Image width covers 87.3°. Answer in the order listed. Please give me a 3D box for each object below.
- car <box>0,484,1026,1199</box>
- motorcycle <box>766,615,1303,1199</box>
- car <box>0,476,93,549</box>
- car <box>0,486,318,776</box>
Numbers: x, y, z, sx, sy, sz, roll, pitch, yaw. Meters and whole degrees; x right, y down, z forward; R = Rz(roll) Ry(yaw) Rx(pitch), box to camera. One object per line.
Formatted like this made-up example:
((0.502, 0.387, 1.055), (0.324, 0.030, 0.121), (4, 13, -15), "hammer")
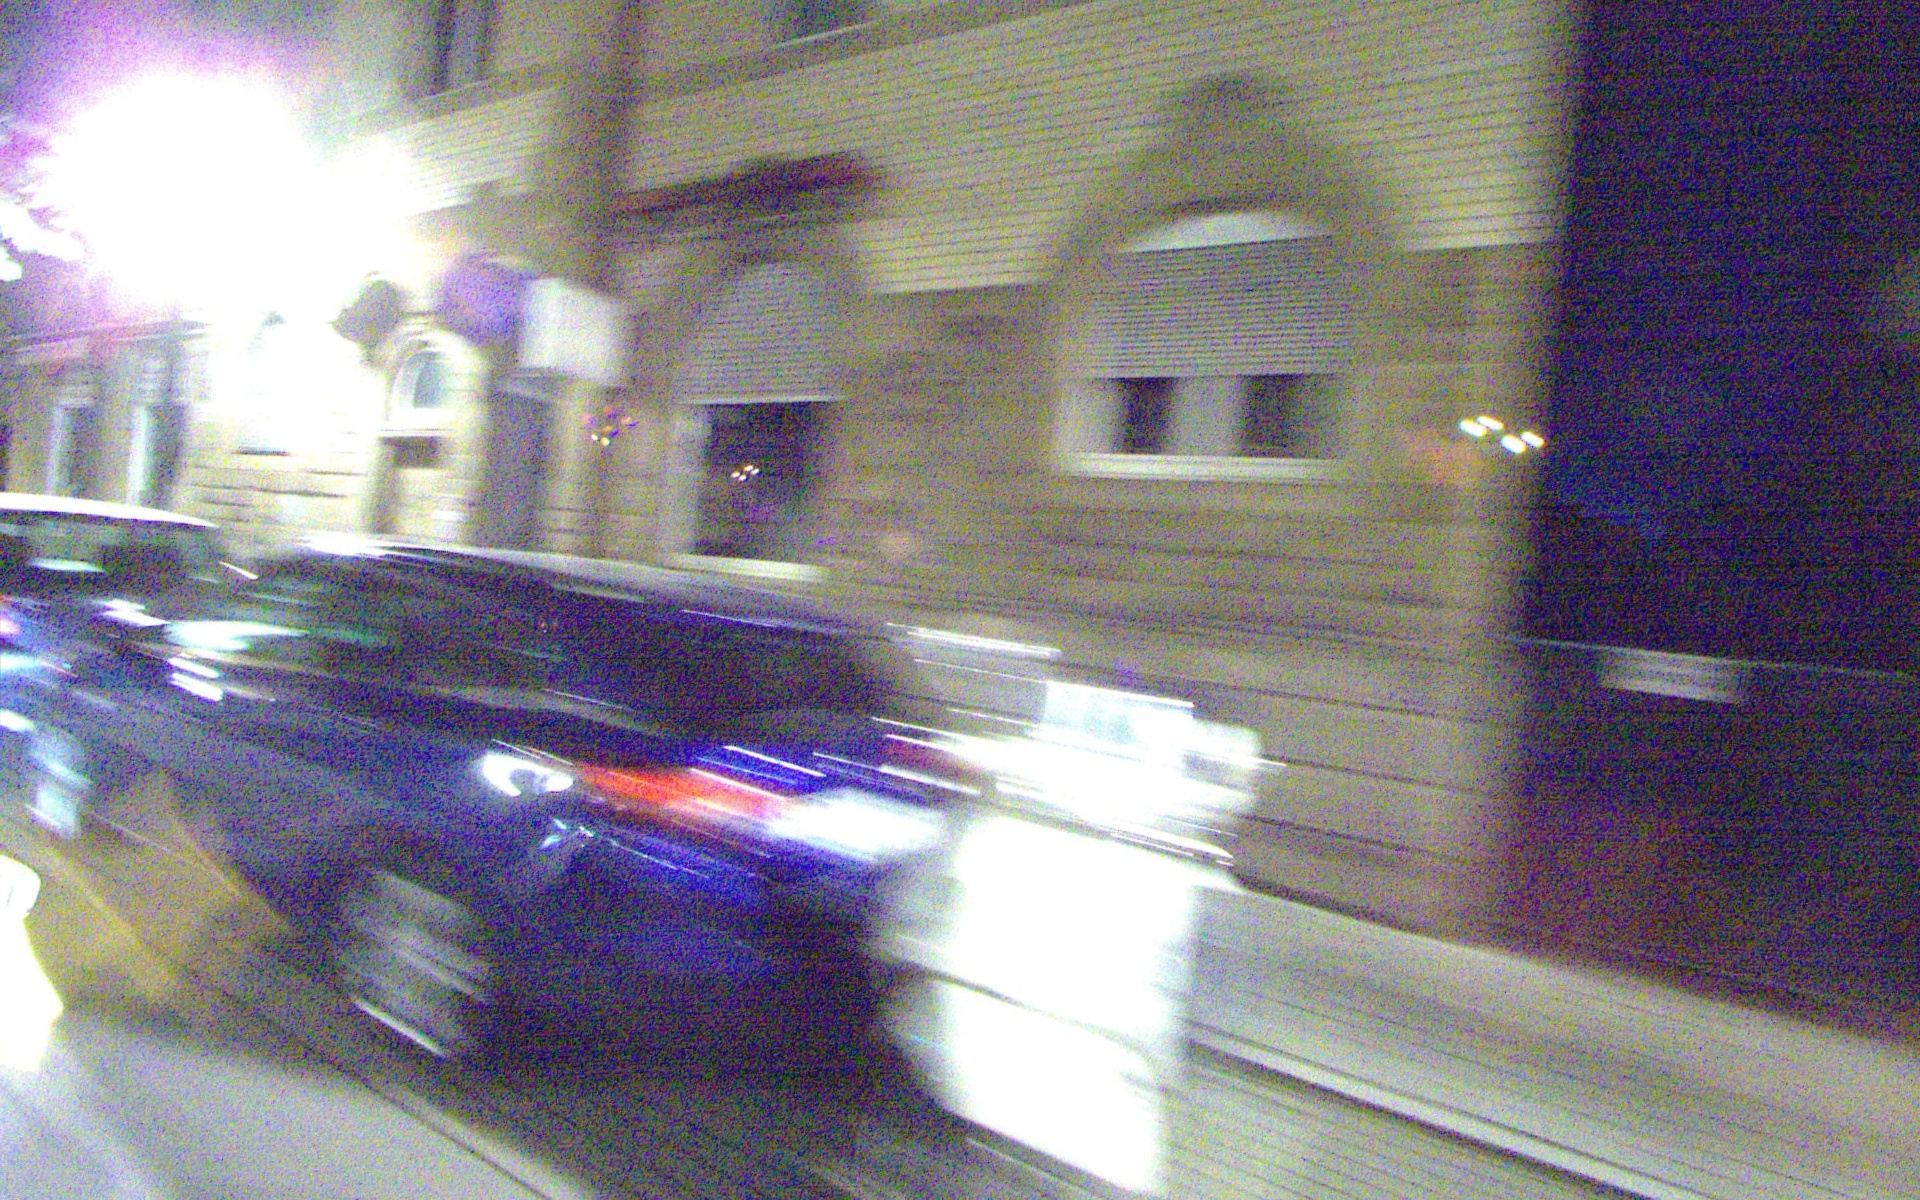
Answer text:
((-2.140, 0.493, 4.186), (4.391, 1.520, 1.734), (7, 1, 30), "car")
((0.417, 0.815, 3.010), (0.907, 1.425, 2.056), (7, 3, 21), "motorcycle")
((-21.962, -2.068, 22.074), (1.821, 1.440, 4.019), (5, 0, 29), "car")
((-6.281, 0.013, 6.803), (3.935, 1.473, 1.737), (7, 2, 33), "car")
